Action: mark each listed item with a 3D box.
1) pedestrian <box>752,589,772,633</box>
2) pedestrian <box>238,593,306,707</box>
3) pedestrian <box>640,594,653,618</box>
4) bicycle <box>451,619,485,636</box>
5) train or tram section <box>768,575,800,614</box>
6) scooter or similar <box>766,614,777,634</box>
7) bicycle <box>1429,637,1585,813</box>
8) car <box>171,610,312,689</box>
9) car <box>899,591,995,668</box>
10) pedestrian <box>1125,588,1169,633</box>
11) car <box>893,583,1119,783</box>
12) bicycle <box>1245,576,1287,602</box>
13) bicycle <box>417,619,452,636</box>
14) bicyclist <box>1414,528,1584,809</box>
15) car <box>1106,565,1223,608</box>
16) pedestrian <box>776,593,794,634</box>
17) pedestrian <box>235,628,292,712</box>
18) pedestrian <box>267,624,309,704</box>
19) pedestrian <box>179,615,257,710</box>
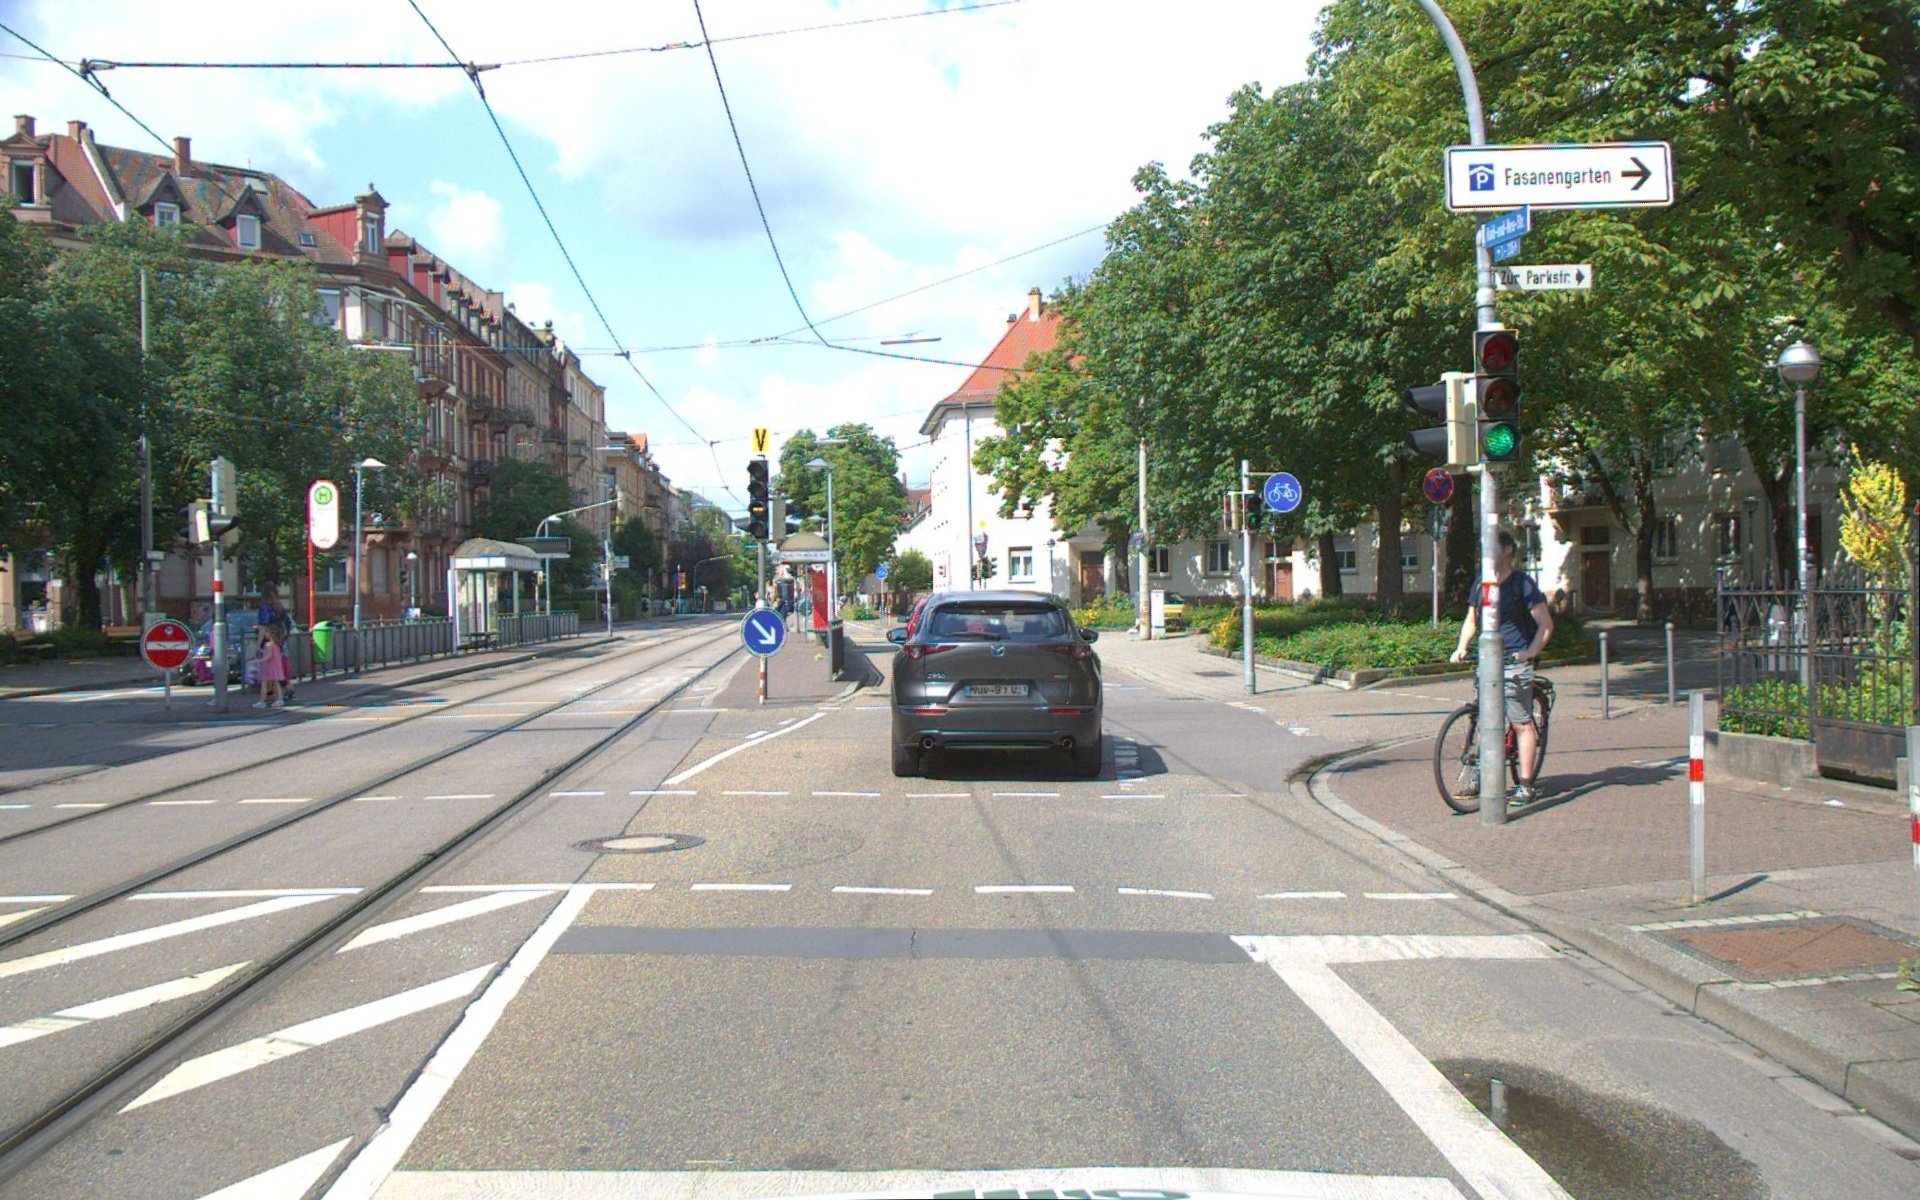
[{"bbox_3d":[-7.732,0.427,64.613,0.756,1.704,0.667,-1,0,-6],"label":"pedestrian"},{"bbox_3d":[-9.826,0.699,23.644,0.714,1.593,0.797,-1,0,-10],"label":"pedestrian"},{"bbox_3d":[-22.407,0.436,118.143,0.772,1.718,0.731,-1,0,-3],"label":"pedestrian"},{"bbox_3d":[-23.282,1.296,78.266,0.378,0.760,1.707,-1,0,31],"label":"bicycle"},{"bbox_3d":[-19.176,-0.512,181.102,2.939,4.053,13.795,-1,-1,-4],"label":"train or tram section"},{"bbox_3d":[-7.270,0.923,63.788,0.406,0.733,0.486,-1,0,-6],"label":"scooter or similar"},{"bbox_3d":[3.834,0.827,11.509,0.382,1.053,1.836,-1,1,39],"label":"bicycle"},{"bbox_3d":[-14.419,0.959,33.374,1.593,1.411,3.431,-2,0,-6],"label":"car"},{"bbox_3d":[-0.318,0.565,33.983,1.740,1.489,3.839,1,0,-4],"label":"car"},{"bbox_3d":[5.685,0.308,50.345,1.170,1.291,0.556,-3,0,-10],"label":"pedestrian"},{"bbox_3d":[0.335,0.662,14.974,1.746,1.540,3.999,1,0,-1],"label":"car"},{"bbox_3d":[12.946,-0.469,69.954,0.562,1.037,1.726,-4,2,-42],"label":"bicycle"},{"bbox_3d":[-24.300,1.269,76.544,0.378,0.760,1.707,-1,0,31],"label":"bicycle"},{"bbox_3d":[3.704,0.445,11.396,0.724,1.851,0.813,-1,0,-27],"label":"bicyclist"},{"bbox_3d":[7.844,-0.519,63.705,4.090,1.536,1.844,-1,2,37],"label":"car"},{"bbox_3d":[-6.745,0.518,63.842,0.654,1.573,0.580,-1,0,-6],"label":"pedestrian"},{"bbox_3d":[-9.738,0.975,23.129,0.629,1.133,0.443,-1,0,-10],"label":"pedestrian"},{"bbox_3d":[-9.843,0.932,24.223,0.429,1.127,0.422,-3,0,-10],"label":"pedestrian"},{"bbox_3d":[-10.868,0.903,24.253,0.810,1.326,0.716,-3,0,-10],"label":"pedestrian"}]
